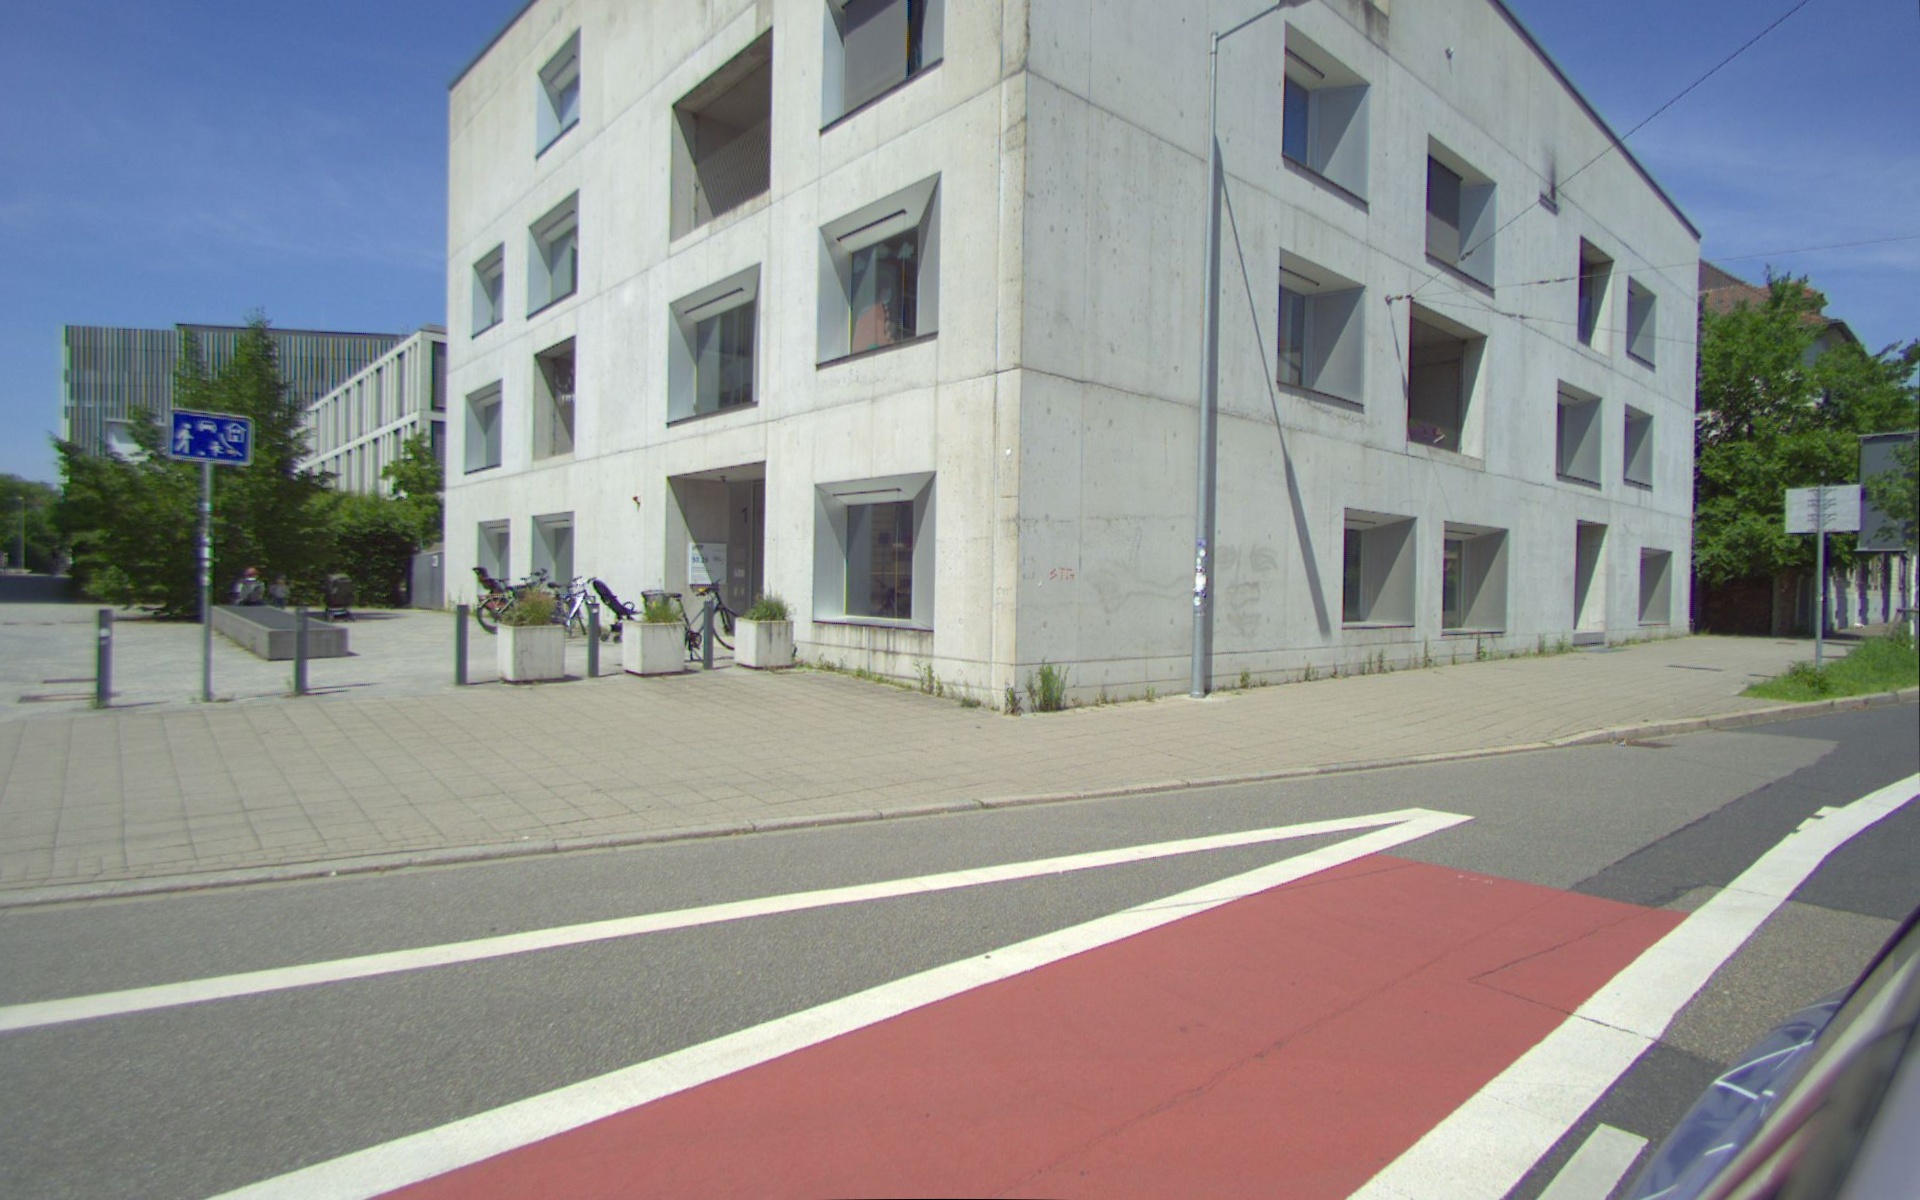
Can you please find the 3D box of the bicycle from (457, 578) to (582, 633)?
[{"bbox_3d":[-8.564,0.083,19.751,0.650,0.997,2.167,2,2,42],"label":"bicycle"}]

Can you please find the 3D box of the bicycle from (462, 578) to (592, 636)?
[{"bbox_3d":[-7.995,0.101,18.770,0.650,0.997,2.167,2,2,42],"label":"bicycle"}]

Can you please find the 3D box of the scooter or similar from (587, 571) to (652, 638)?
[{"bbox_3d":[-5.999,0.061,17.844,0.532,1.154,0.949,1,2,42],"label":"scooter or similar"}]

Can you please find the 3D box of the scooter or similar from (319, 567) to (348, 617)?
[{"bbox_3d":[-14.091,-0.189,22.764,0.516,1.098,0.577,-1,1,-36],"label":"scooter or similar"}]

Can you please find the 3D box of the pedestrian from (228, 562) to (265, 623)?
[{"bbox_3d":[-15.072,-0.164,21.381,0.622,1.265,0.647,-1,1,-36],"label":"pedestrian"}]

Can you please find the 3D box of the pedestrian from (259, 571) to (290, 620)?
[{"bbox_3d":[-15.040,-0.102,22.215,0.460,1.057,0.515,-1,1,-22],"label":"pedestrian"}]

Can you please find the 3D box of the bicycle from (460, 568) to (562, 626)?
[{"bbox_3d":[-9.329,-0.077,21.078,0.650,1.146,1.860,1,2,42],"label":"bicycle"}]

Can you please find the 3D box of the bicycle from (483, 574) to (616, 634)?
[{"bbox_3d":[-7.359,0.046,18.226,0.650,1.016,2.167,2,2,42],"label":"bicycle"}]

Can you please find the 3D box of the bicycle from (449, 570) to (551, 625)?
[{"bbox_3d":[-9.812,-0.075,21.629,0.650,1.129,1.902,1,2,42],"label":"bicycle"}]
